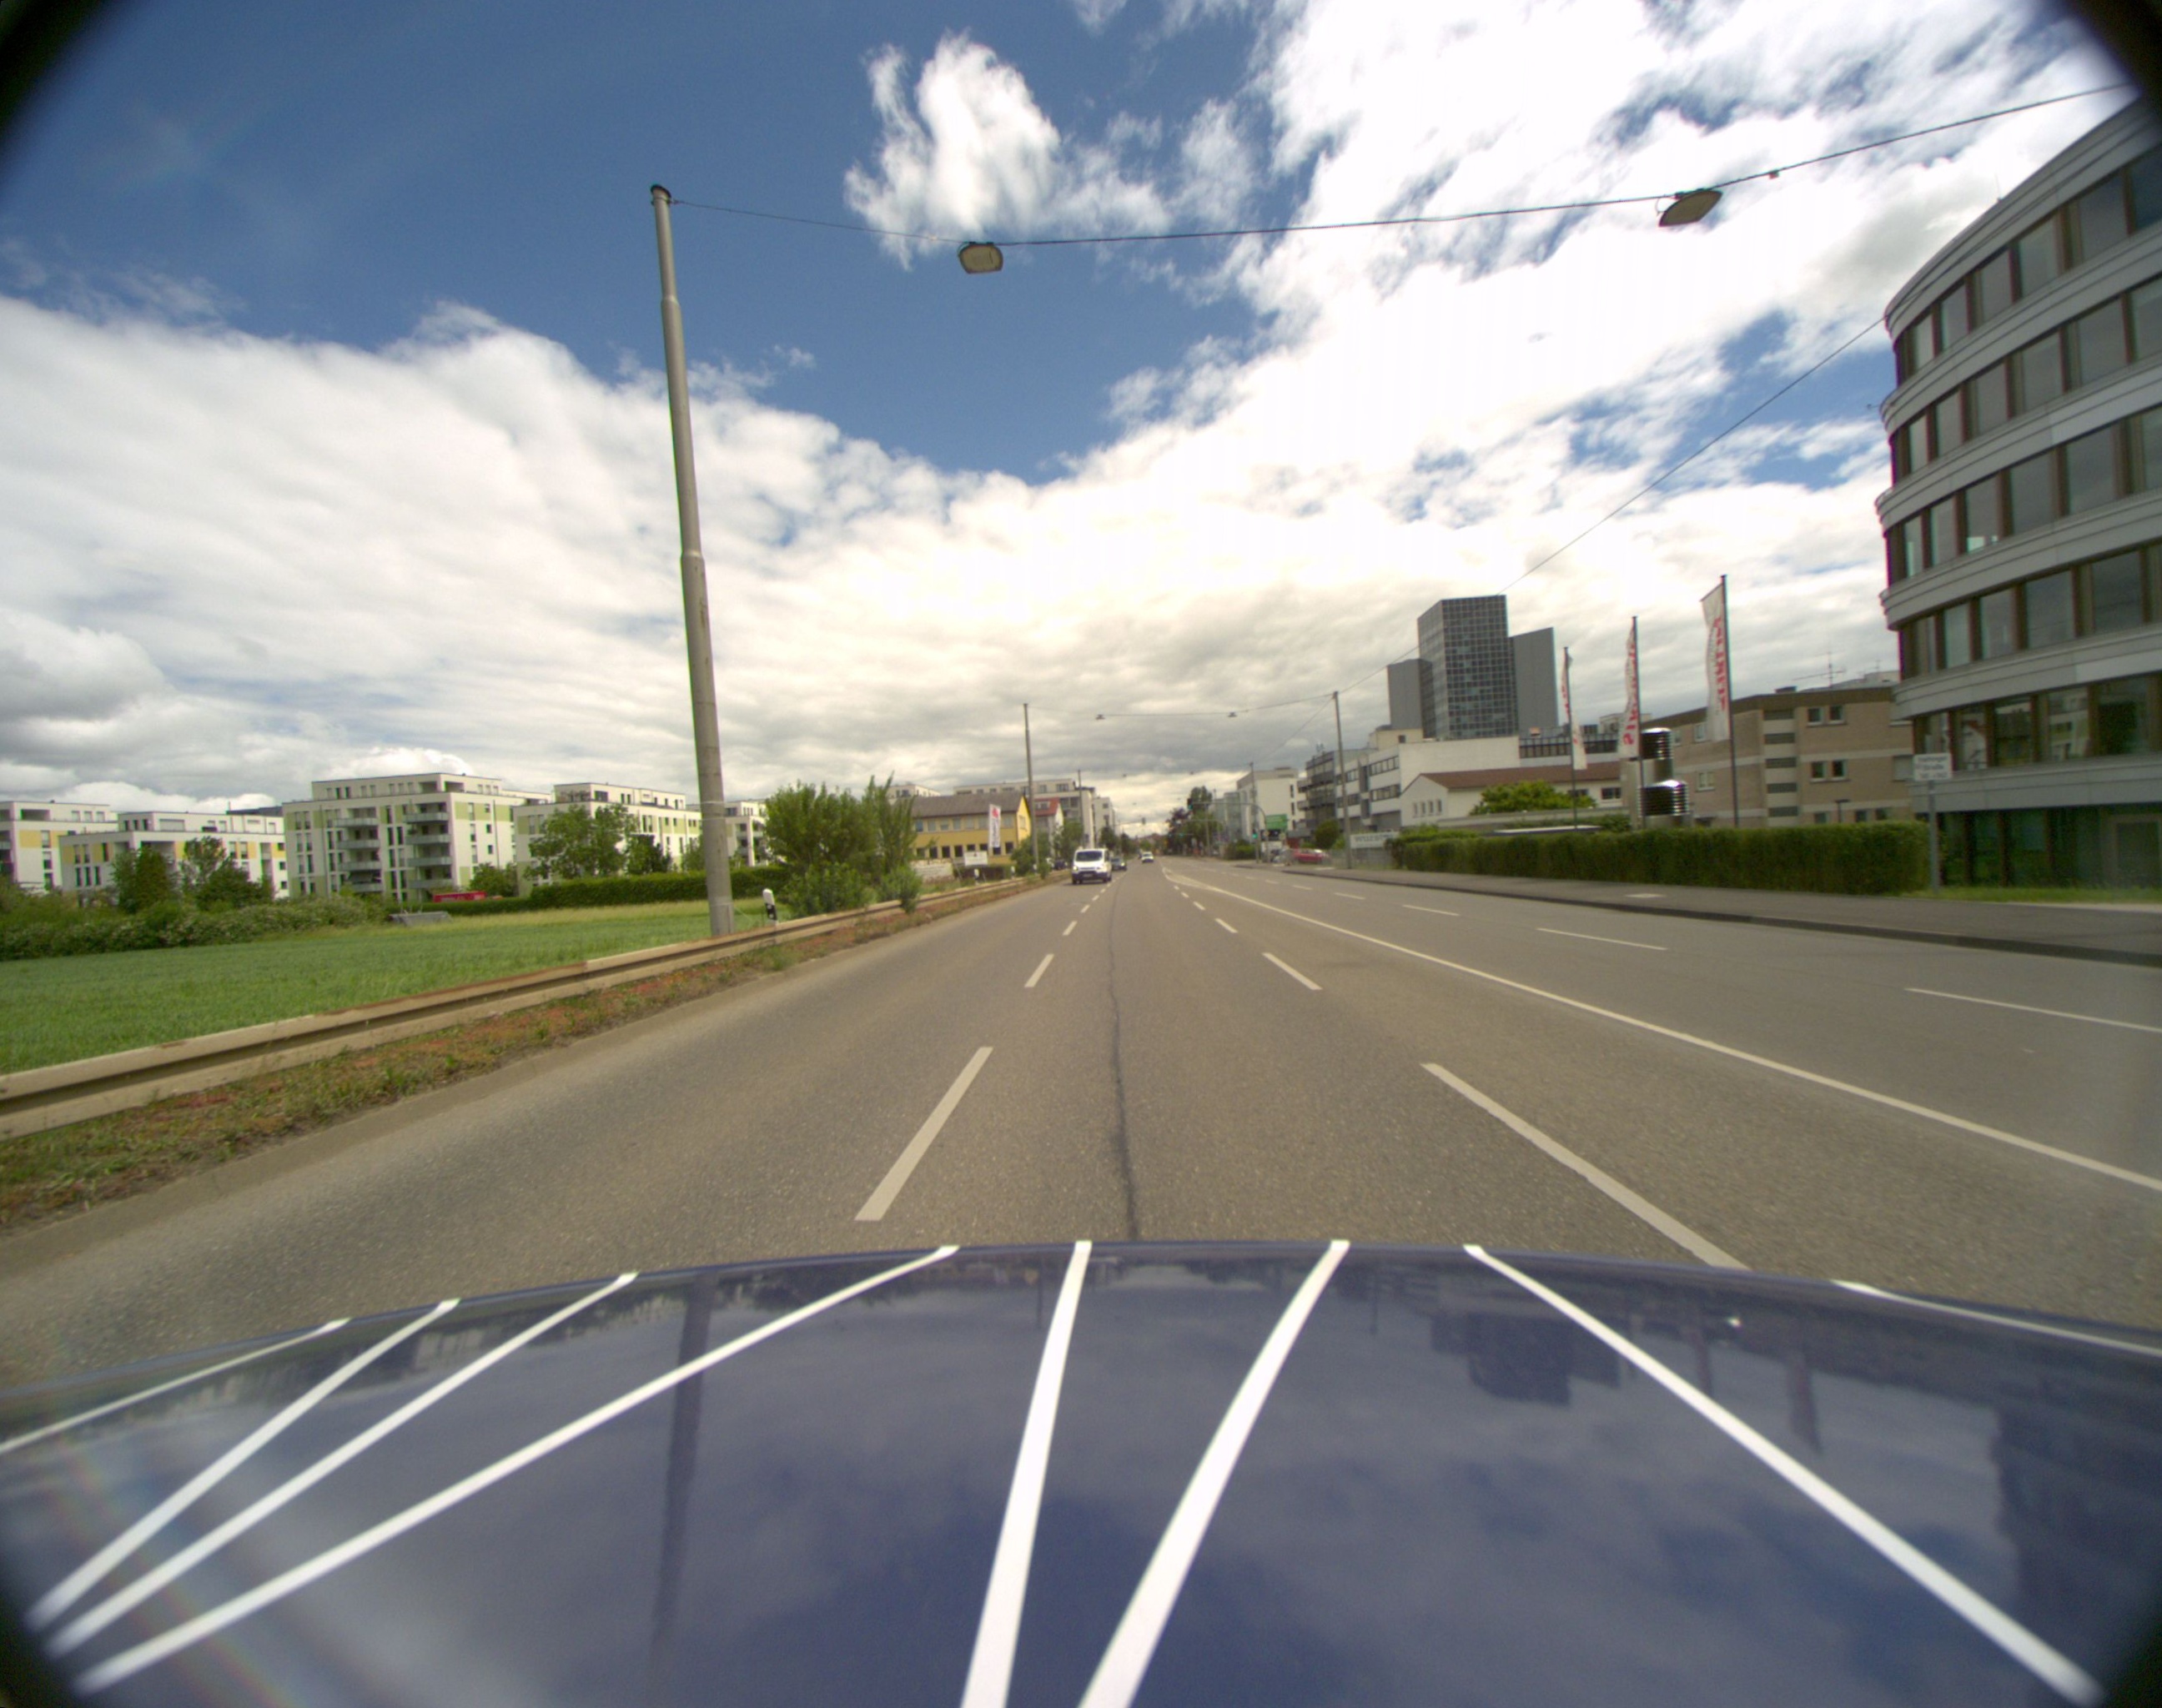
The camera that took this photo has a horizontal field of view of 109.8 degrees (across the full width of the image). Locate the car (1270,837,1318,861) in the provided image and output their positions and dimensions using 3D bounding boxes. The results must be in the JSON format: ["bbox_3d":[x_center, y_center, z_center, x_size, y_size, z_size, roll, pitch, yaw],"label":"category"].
[{"bbox_3d":[20.205,-0.506,72.169,3.996,2.002,1.904,-3,1,2],"label":"car"}]

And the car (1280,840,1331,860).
[{"bbox_3d":[19.712,-0.357,66.813,3.801,1.602,1.836,-3,0,0],"label":"car"}]

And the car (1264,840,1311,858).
[{"bbox_3d":[20.204,-0.470,74.456,3.996,1.324,1.824,-5,0,2],"label":"car"}]

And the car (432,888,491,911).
[{"bbox_3d":[-64.557,4.753,79.235,4.437,2.002,1.999,-3,1,-1],"label":"car"}]

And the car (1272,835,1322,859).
[{"bbox_3d":[19.774,-0.627,69.670,3.996,2.002,1.920,-3,1,2],"label":"car"}]

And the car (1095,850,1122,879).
[{"bbox_3d":[2.008,0.741,55.958,1.807,1.915,3.999,-3,1,1],"label":"car"}]

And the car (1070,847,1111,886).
[{"bbox_3d":[0.584,0.606,42.342,1.998,1.907,5.882,-3,1,2],"label":"car"}]

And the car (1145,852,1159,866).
[{"bbox_3d":[11.226,0.787,120.827,1.800,2.002,3.999,-3,1,1],"label":"car"}]
